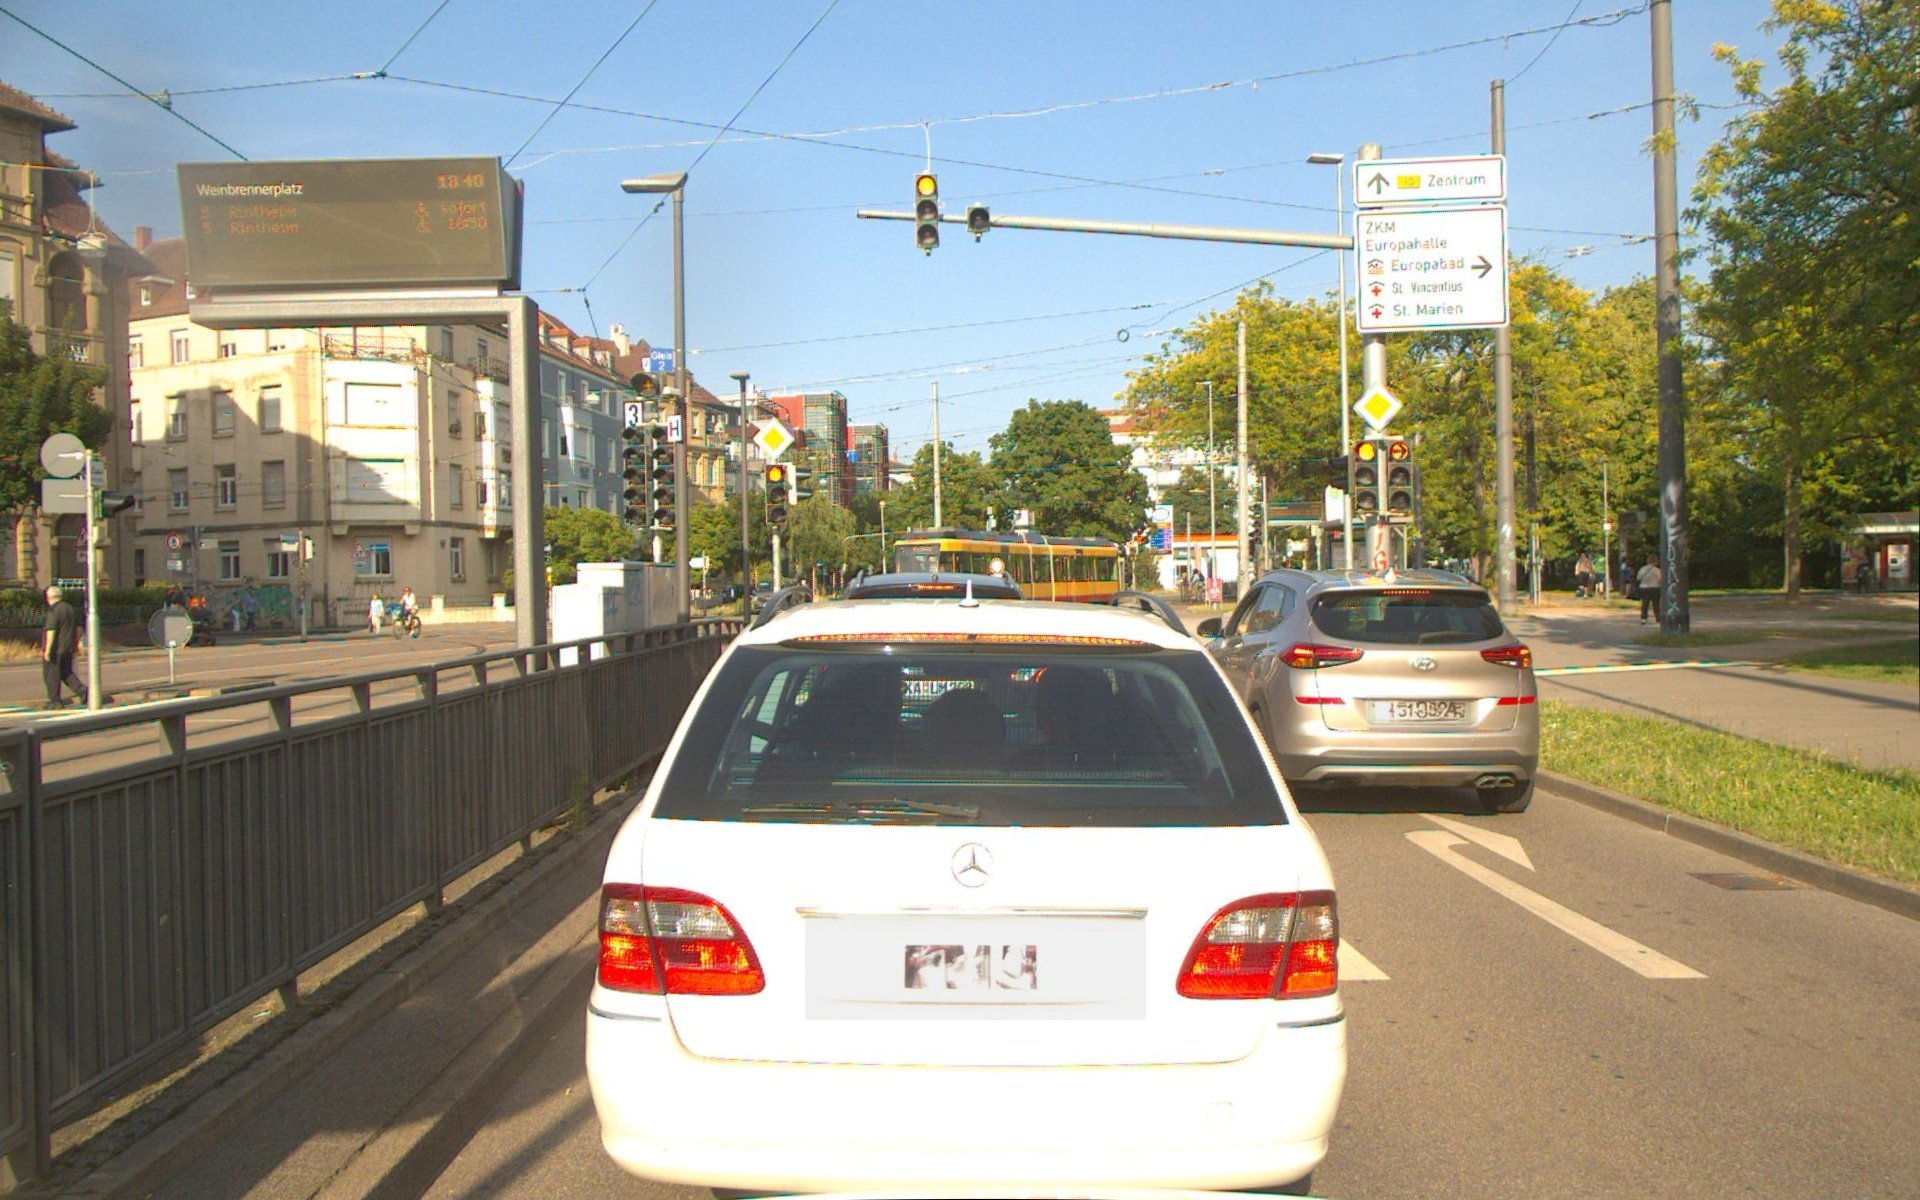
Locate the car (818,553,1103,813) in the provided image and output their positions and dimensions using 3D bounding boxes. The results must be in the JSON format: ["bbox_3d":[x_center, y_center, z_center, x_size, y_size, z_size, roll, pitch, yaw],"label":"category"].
[{"bbox_3d":[-0.016,0.528,12.696,1.846,1.680,3.647,1,0,-1],"label":"car"}]

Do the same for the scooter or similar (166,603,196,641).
[{"bbox_3d":[-23.010,0.640,48.856,0.532,1.098,0.683,1,0,-1],"label":"scooter or similar"}]

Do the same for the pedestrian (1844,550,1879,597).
[{"bbox_3d":[32.710,-0.973,60.023,0.818,1.665,0.803,-1,0,5],"label":"pedestrian"}]

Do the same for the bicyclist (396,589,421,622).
[{"bbox_3d":[-17.830,0.171,53.458,0.502,1.062,0.680,-1,0,8],"label":"bicyclist"}]

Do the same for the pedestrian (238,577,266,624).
[{"bbox_3d":[-30.971,0.014,72.367,0.758,2.049,0.787,-1,0,14],"label":"pedestrian"}]

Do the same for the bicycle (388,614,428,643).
[{"bbox_3d":[-17.825,0.911,53.425,0.515,0.849,1.688,-1,1,8],"label":"bicycle"}]

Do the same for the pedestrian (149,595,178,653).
[{"bbox_3d":[-23.195,0.686,48.158,0.497,1.654,0.608,-1,0,0],"label":"pedestrian"}]

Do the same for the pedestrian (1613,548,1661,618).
[{"bbox_3d":[16.285,-0.404,39.785,0.748,1.665,0.797,-2,0,-40],"label":"pedestrian"}]

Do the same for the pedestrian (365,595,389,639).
[{"bbox_3d":[-21.177,0.596,60.080,0.616,1.568,0.711,-1,0,-1],"label":"pedestrian"}]

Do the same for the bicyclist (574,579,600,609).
[{"bbox_3d":[-16.454,-0.272,72.954,0.747,1.284,1.175,-1,0,6],"label":"bicyclist"}]

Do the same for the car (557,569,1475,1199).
[{"bbox_3d":[0.086,0.674,4.995,1.759,1.496,3.647,0,0,-1],"label":"car"}]

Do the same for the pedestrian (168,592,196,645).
[{"bbox_3d":[-22.600,0.541,48.051,0.428,1.527,0.549,-1,0,14],"label":"pedestrian"}]

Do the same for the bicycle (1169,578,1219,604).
[{"bbox_3d":[11.747,-0.459,82.963,2.430,1.234,0.807,-1,0,7],"label":"bicycle"}]

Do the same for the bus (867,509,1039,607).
[{"bbox_3d":[-0.004,-1.583,68.572,3.044,3.669,12.377,1,0,20],"label":"bus"}]

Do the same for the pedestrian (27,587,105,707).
[{"bbox_3d":[-12.840,0.664,23.757,0.788,1.674,0.745,-2,0,-45],"label":"pedestrian"}]

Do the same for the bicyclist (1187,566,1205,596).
[{"bbox_3d":[11.842,-0.952,82.946,0.842,1.507,0.790,-1,0,6],"label":"bicyclist"}]

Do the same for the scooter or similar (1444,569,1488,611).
[{"bbox_3d":[13.968,-0.275,45.683,0.413,1.136,1.322,-1,0,-20],"label":"scooter or similar"}]

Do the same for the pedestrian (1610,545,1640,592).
[{"bbox_3d":[25.884,-1.226,64.390,0.784,1.816,0.838,-1,0,-5],"label":"pedestrian"}]

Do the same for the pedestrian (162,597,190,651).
[{"bbox_3d":[-22.446,0.693,47.346,0.428,1.527,0.549,-1,0,14],"label":"pedestrian"}]

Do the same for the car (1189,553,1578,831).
[{"bbox_3d":[2.893,0.554,12.127,1.846,1.680,3.647,-2,0,-1],"label":"car"}]

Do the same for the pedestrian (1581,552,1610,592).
[{"bbox_3d":[24.865,-1.097,64.730,0.799,1.513,0.699,-1,0,-12],"label":"pedestrian"}]

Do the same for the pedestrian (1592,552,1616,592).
[{"bbox_3d":[24.605,-1.075,63.214,0.797,1.513,0.700,-1,0,24],"label":"pedestrian"}]

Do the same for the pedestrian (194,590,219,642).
[{"bbox_3d":[-22.483,0.484,49.365,0.523,1.527,0.389,-1,0,14],"label":"pedestrian"}]

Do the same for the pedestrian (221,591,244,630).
[{"bbox_3d":[-31.423,0.449,71.449,0.606,1.689,0.586,-1,0,14],"label":"pedestrian"}]

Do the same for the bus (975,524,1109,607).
[{"bbox_3d":[4.208,-1.545,80.327,3.044,3.669,12.594,1,0,19],"label":"bus"}]

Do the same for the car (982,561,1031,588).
[{"bbox_3d":[3.780,-2.067,134.653,3.906,2.049,1.999,1,0,-2],"label":"car"}]

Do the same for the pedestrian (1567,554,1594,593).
[{"bbox_3d":[24.058,-1.030,64.110,0.809,1.513,0.690,-2,0,-42],"label":"pedestrian"}]
